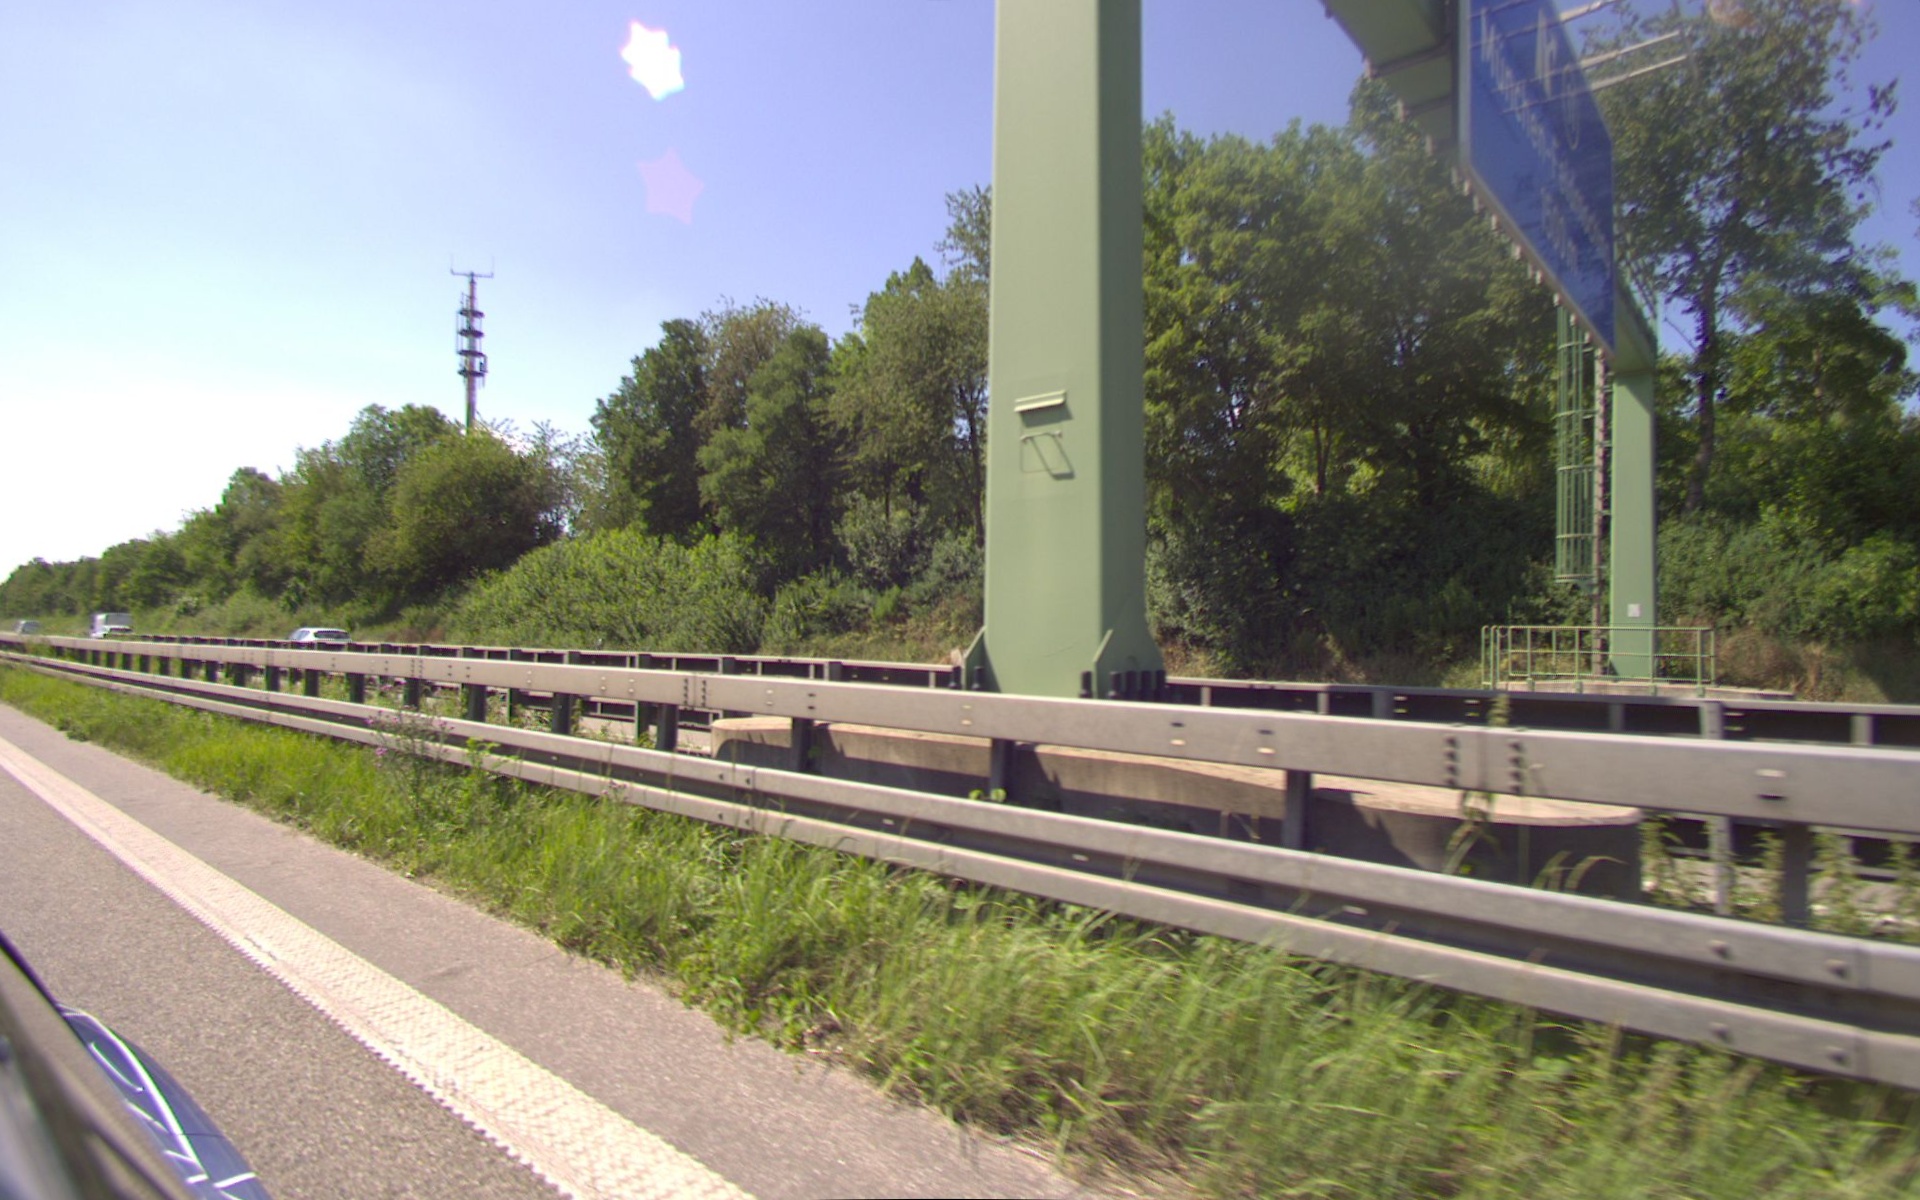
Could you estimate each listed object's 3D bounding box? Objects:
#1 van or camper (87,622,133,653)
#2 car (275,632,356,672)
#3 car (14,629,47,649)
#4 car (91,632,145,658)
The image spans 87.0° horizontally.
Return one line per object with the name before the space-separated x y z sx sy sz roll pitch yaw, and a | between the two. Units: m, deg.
van or camper | -74.031 3.230 88.110 6.195 2.579 2.016 -2 -4 41
car | -25.041 2.007 39.275 3.882 1.475 1.647 -2 -5 43
car | -89.248 3.757 97.185 5.166 1.844 1.727 -2 -4 41
car | -55.124 2.916 66.235 5.307 1.622 1.859 -2 -4 41
